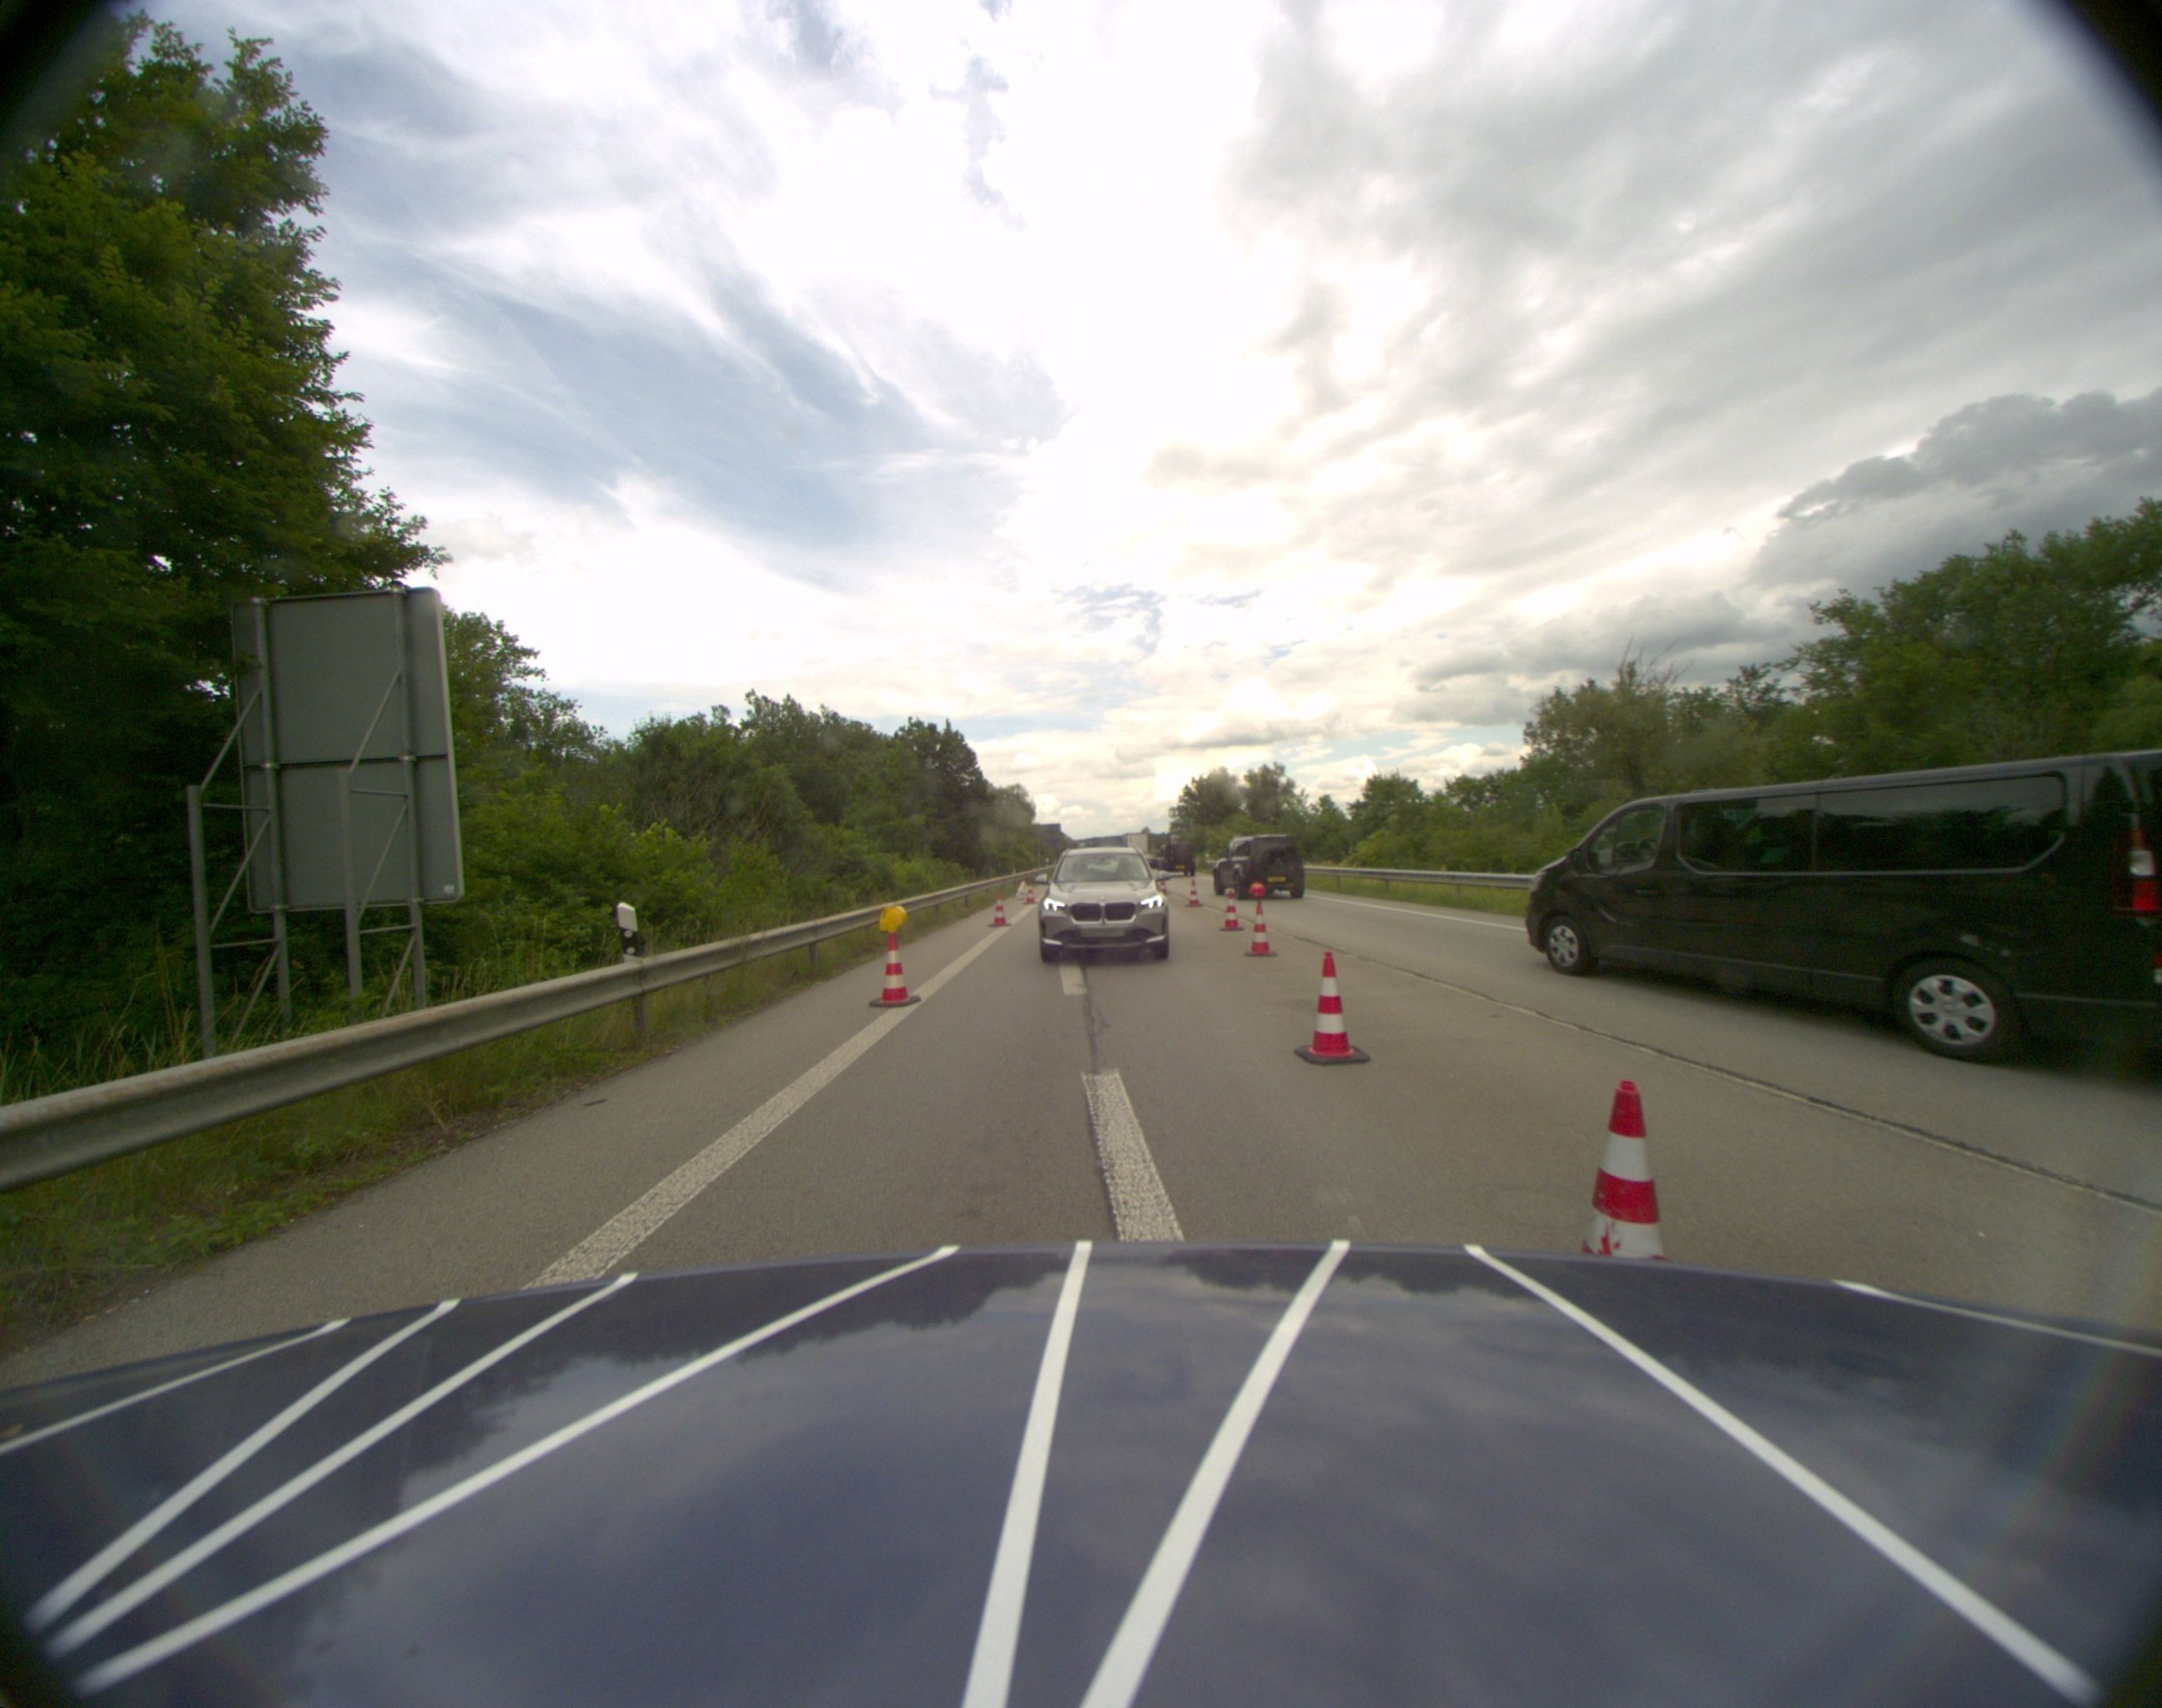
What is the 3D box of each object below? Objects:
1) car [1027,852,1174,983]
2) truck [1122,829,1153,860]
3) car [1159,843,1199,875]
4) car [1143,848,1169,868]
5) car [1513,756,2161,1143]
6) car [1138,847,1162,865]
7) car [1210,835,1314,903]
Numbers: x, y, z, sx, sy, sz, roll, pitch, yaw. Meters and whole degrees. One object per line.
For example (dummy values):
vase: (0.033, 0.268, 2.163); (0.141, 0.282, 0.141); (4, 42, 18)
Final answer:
car: (0.283, 0.805, 11.907); (1.817, 1.598, 4.433); (-2, 0, 1)
truck: (7.014, -1.149, 95.578); (3.114, 3.682, 9.543); (-2, 0, 1)
car: (5.919, 0.281, 46.543); (1.929, 1.820, 4.532); (-2, 0, 2)
car: (6.382, 0.314, 65.202); (1.929, 1.597, 4.533); (-2, 0, 3)
car: (6.316, 0.450, 6.355); (2.035, 1.976, 5.313); (-2, 0, -4)
car: (6.522, 0.191, 72.133); (1.929, 1.597, 4.532); (-2, 0, 2)
car: (5.547, 0.433, 23.929); (1.972, 1.873, 4.531); (-2, 0, -2)
